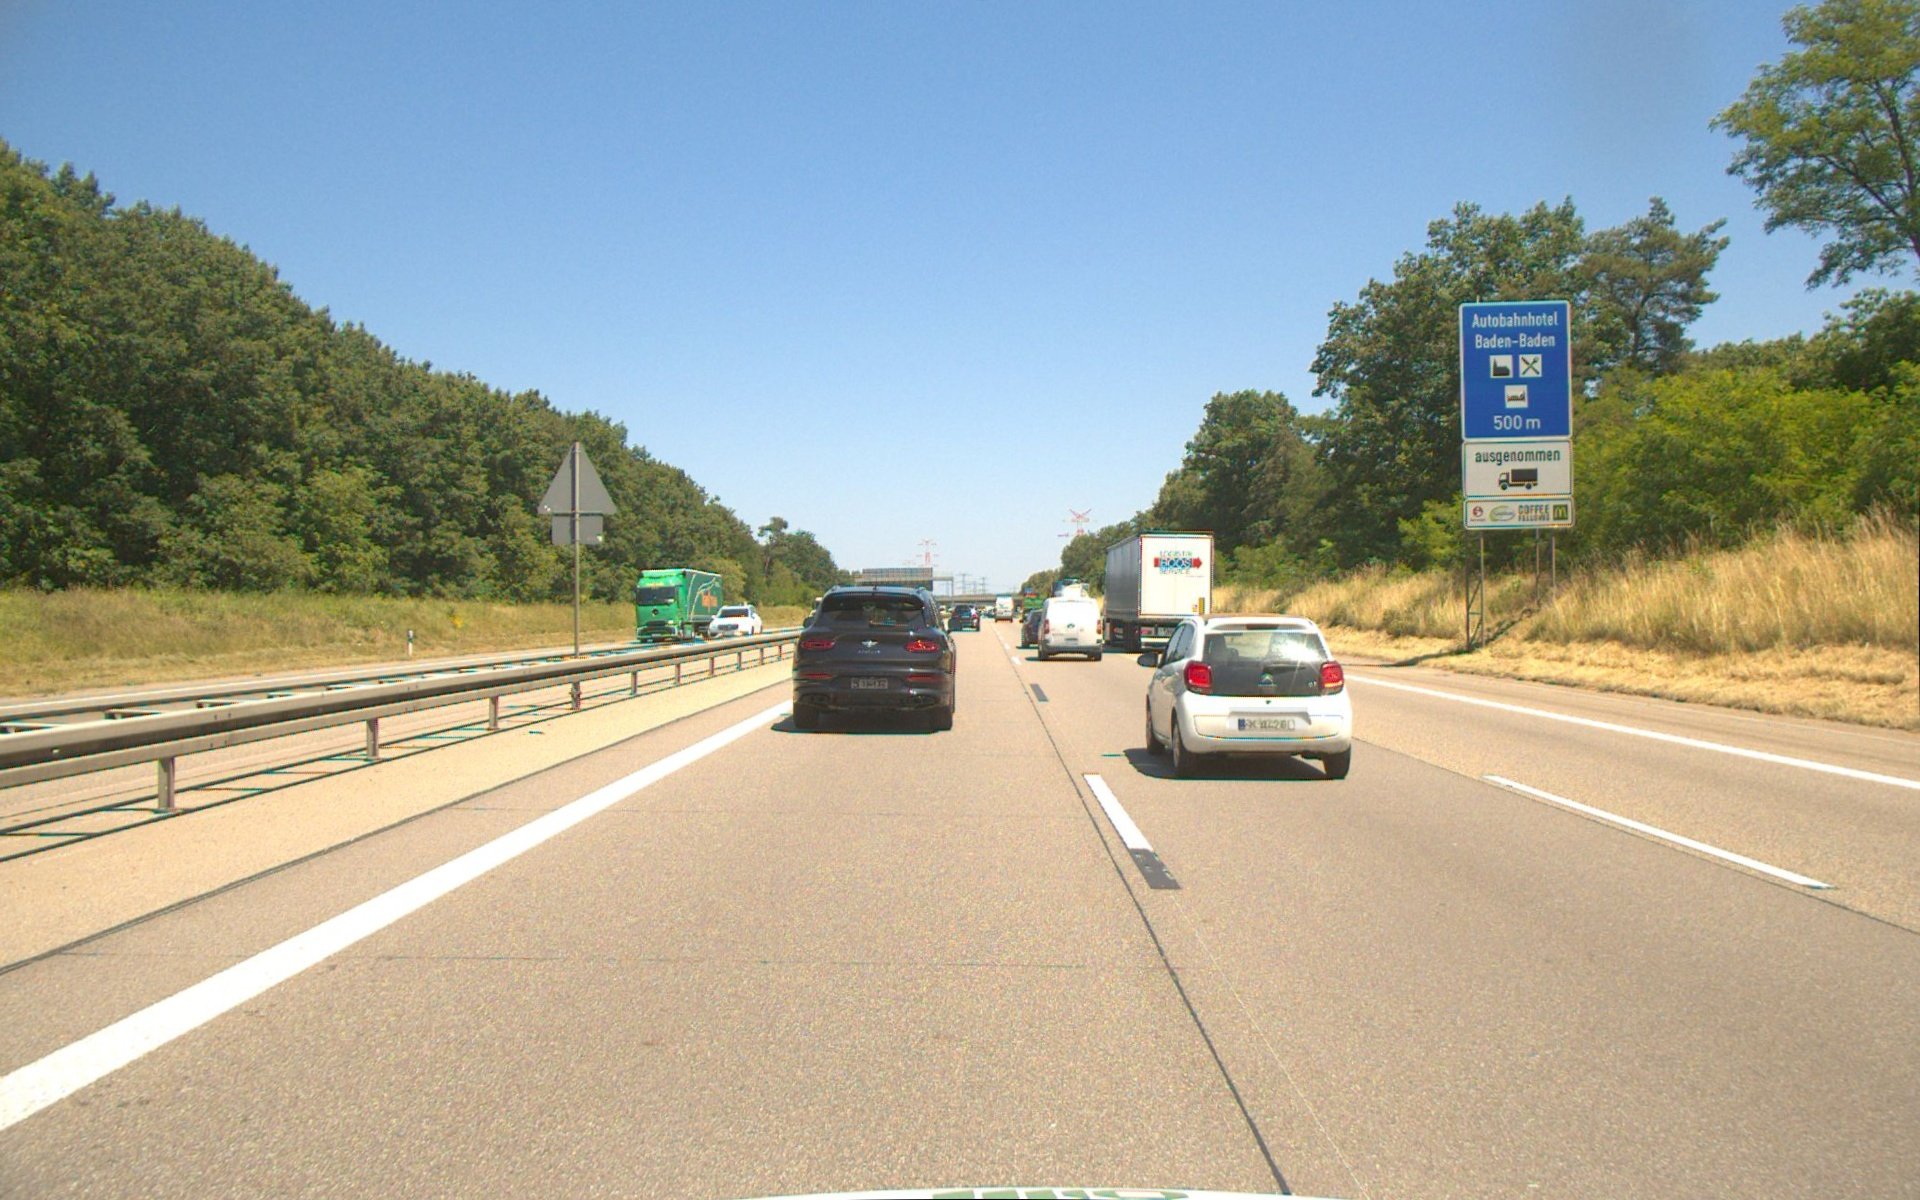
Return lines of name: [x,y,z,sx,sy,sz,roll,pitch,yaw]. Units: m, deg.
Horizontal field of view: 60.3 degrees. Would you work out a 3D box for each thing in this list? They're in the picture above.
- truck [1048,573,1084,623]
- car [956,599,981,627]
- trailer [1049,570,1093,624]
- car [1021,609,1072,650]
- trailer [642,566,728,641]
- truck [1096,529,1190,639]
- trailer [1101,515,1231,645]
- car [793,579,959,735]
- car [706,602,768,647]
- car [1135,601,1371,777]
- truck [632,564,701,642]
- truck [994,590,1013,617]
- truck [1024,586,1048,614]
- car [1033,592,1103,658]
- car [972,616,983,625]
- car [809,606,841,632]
truck: [8.558,-0.151,133.778,2.628,3.904,4.444,1,-1,0]
car: [0.579,0.863,107.837,1.593,1.785,3.805,1,0,1]
trailer: [8.529,-0.185,128.084,2.627,3.904,12.009,1,0,0]
car: [3.286,1.117,63.343,1.738,1.498,3.872,0,0,0]
trailer: [-16.992,0.212,103.373,2.649,4.233,14.338,-3,0,1]
truck: [7.517,-0.610,68.825,3.218,4.293,6.007,1,-1,0]
trailer: [7.488,-0.624,62.243,3.218,4.293,13.564,1,0,0]
car: [-0.969,0.641,22.026,1.901,1.783,5.813,1,0,0]
car: [-9.987,1.069,74.564,1.914,1.823,5.562,-3,0,1]
car: [2.775,0.780,16.478,1.673,1.521,4.024,1,0,1]
truck: [-17.051,0.180,96.458,2.645,4.233,6.296,-3,0,0]
truck: [4.862,0.450,187.335,2.018,2.965,7.003,0,0,0]
truck: [10.767,0.080,234.558,2.928,3.794,10.089,1,-1,0]
car: [3.170,0.725,49.450,1.777,1.859,5.110,0,0,0]
car: [2.581,2.942,238.717,1.574,1.323,3.674,1,0,1]
car: [-8.755,1.216,107.449,1.621,1.526,4.600,-3,0,1]
